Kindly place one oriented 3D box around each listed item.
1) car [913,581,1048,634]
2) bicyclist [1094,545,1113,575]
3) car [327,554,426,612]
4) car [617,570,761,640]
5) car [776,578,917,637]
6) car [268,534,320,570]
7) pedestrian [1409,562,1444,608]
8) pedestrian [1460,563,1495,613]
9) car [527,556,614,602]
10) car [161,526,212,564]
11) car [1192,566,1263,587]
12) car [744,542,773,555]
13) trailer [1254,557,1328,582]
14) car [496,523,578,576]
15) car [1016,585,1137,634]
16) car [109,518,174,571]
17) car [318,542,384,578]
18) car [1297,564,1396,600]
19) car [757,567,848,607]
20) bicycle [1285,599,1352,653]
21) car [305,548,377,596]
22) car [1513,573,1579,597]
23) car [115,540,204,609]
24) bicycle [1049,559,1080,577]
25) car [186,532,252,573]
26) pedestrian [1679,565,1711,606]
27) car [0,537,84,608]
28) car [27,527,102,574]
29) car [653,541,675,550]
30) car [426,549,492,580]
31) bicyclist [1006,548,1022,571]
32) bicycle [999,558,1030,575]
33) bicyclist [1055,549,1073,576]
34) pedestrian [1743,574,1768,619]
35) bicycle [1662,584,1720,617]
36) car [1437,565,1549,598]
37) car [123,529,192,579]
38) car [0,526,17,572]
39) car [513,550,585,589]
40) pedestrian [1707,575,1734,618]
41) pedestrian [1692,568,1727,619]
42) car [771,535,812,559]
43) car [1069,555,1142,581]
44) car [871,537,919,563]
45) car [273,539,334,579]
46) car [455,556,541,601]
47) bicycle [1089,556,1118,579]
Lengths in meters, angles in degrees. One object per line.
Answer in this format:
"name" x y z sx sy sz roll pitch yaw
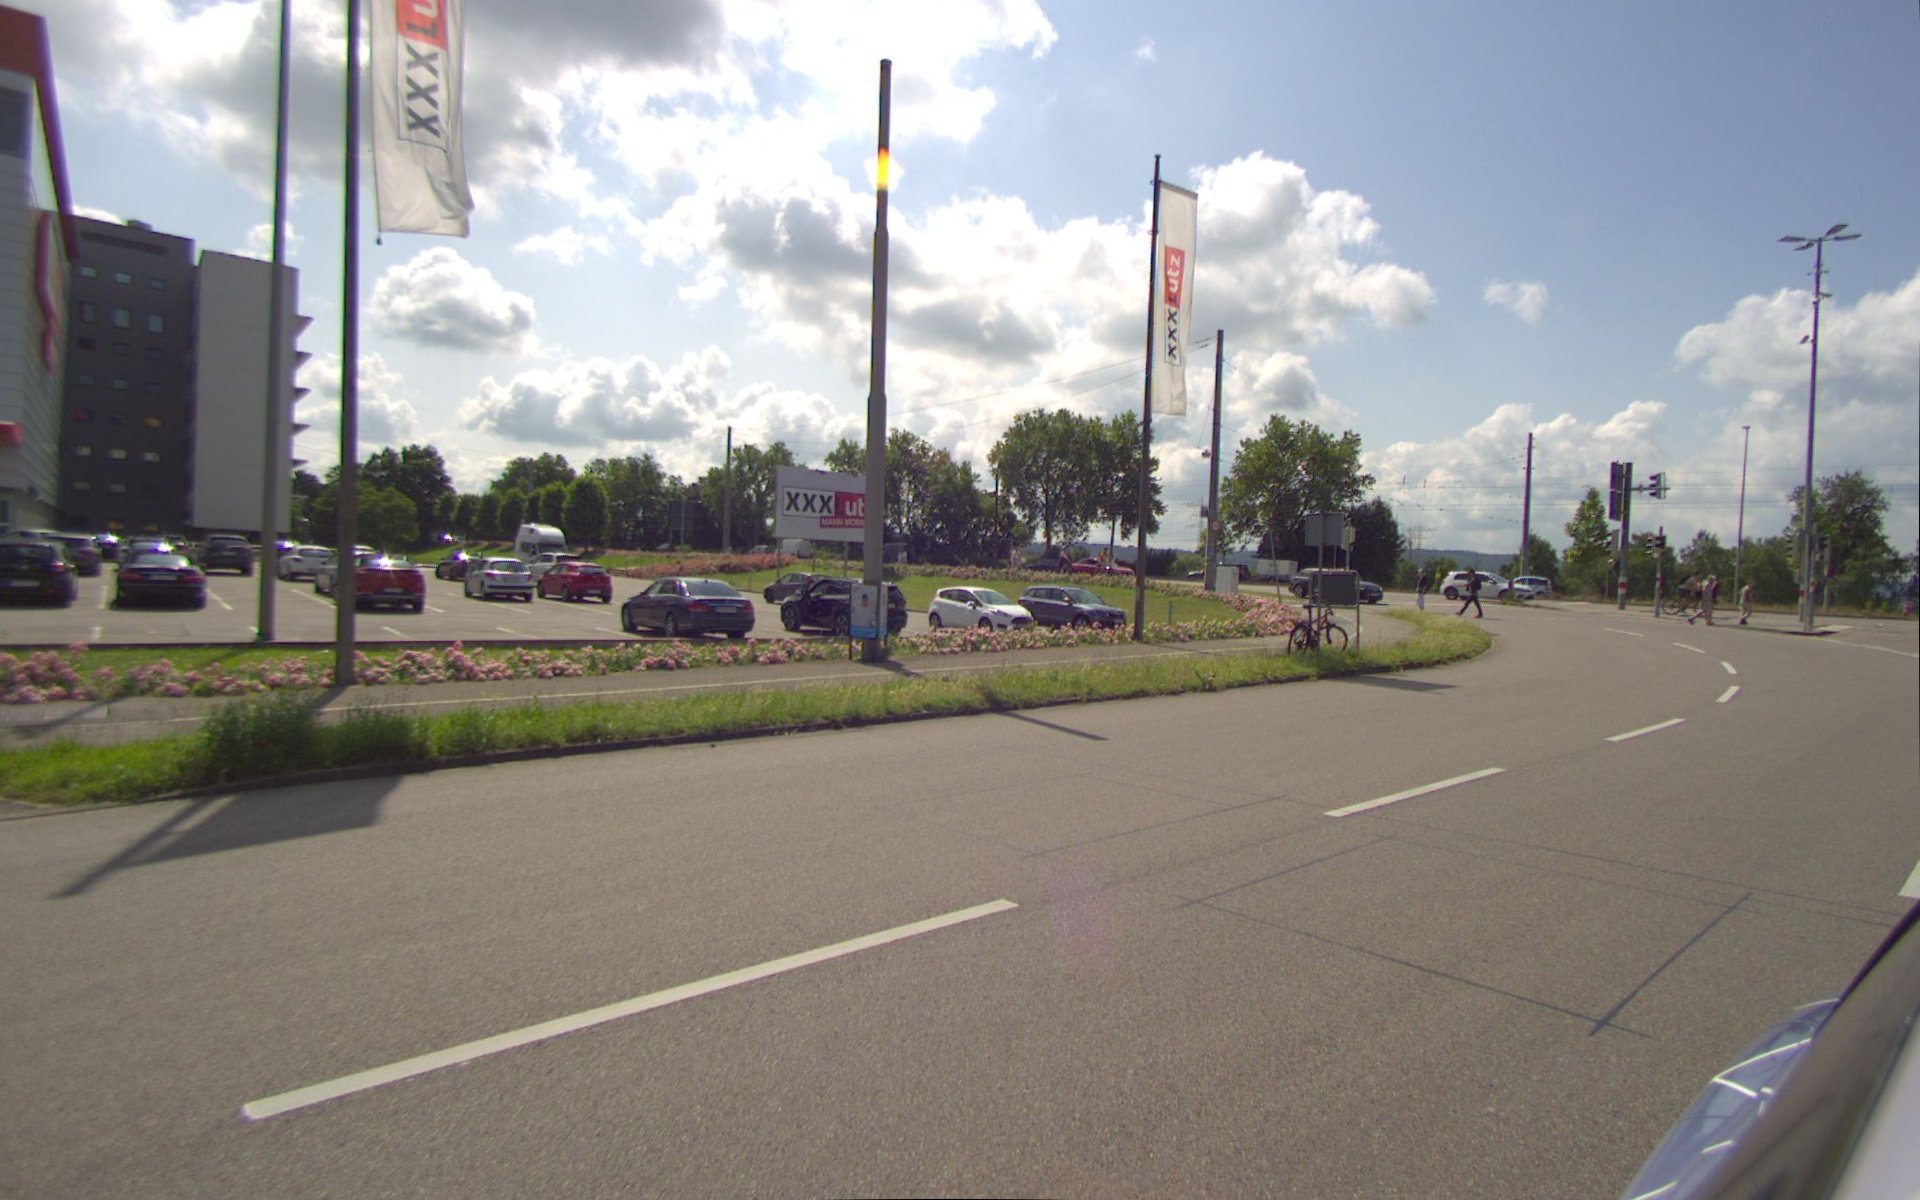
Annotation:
"car" 0.567 0.184 31.504 1.764 1.457 4.369 0 2 -39
"bicyclist" 7.639 -2.117 53.850 0.609 1.555 0.697 2 0 -36
"car" -16.730 -0.513 28.908 1.813 1.379 4.372 2 2 -38
"car" -6.708 0.055 24.777 1.823 1.495 4.370 0 2 -38
"car" -3.238 0.153 28.197 1.823 1.434 4.369 0 2 -39
"car" -35.774 -2.546 54.323 1.963 1.760 3.998 1 1 -38
"pedestrian" 18.335 -0.608 39.795 0.848 1.787 0.865 1 1 -13
"pedestrian" 19.105 -0.459 37.392 0.744 1.824 0.824 1 1 -13
"car" -14.837 -0.827 38.426 1.813 1.445 4.372 2 2 -38
"car" -39.524 -2.770 51.735 1.963 1.760 3.998 1 1 -38
"car" 21.391 -1.907 81.089 5.232 1.593 1.970 3 2 42
"car" -27.457 -6.970 138.010 3.988 1.638 1.968 2 1 44
"trailer" 25.331 -2.354 77.612 5.162 1.854 1.798 2 2 42
"car" -27.494 -3.265 65.590 3.064 3.193 7.904 0 3 -37
"car" 3.937 0.281 34.557 1.686 1.435 3.994 0 2 -42
"car" -33.871 -2.254 41.876 1.964 2.039 3.996 1 1 -39
"car" -28.523 -1.854 47.364 1.887 1.549 3.993 1 1 -42
"car" 17.627 -0.855 46.390 1.876 1.501 4.213 0 3 -21
"car" -6.919 -0.575 44.236 2.011 1.426 4.372 2 3 -38
"bicycle" 6.808 0.467 19.193 1.517 0.964 0.518 0 1 -41
"car" -20.979 -0.973 34.253 1.573 1.379 4.036 2 2 -38
"car" 37.991 -0.958 65.653 3.477 1.474 1.676 -1 1 42
"car" -20.438 -0.694 25.901 1.651 1.526 4.372 1 3 -38
"bicycle" 5.802 -1.801 56.279 0.654 0.973 1.694 2 1 -39
"car" -31.486 -1.980 42.958 1.964 1.607 4.234 1 1 -40
"pedestrian" 29.424 -0.596 40.538 0.676 1.554 0.505 9 3 14
"car" -22.449 -0.708 24.519 1.597 1.460 4.372 2 2 -38
"car" -32.223 -1.756 36.507 1.817 1.571 4.059 0 2 -38
"car" -46.632 -8.568 159.348 1.902 1.382 3.736 1 1 -42
"car" -24.894 -1.750 50.244 1.887 1.459 3.992 1 1 -42
"bicyclist" 3.198 -2.391 59.623 0.582 1.342 0.687 2 0 -39
"bicycle" 3.213 -1.963 59.590 0.586 0.973 1.986 2 1 -39
"bicyclist" 5.803 -2.081 56.311 0.639 1.494 0.742 2 0 -39
"pedestrian" 28.146 -0.123 35.807 0.460 1.543 0.557 2 0 -32
"bicycle" 29.302 0.005 40.579 1.671 1.059 0.505 9 3 13
"car" 26.284 -0.938 49.991 1.980 1.430 4.489 0 3 -43
"car" -30.343 -1.740 38.328 1.964 1.760 3.998 0 2 -38
"car" -34.216 -1.849 35.066 1.964 1.526 3.997 1 2 -39
"car" -19.425 -1.460 47.754 1.821 1.607 4.233 1 3 -42
"pedestrian" 27.144 -0.130 36.124 0.460 1.543 0.586 0 1 -31
"pedestrian" 26.170 -0.228 35.349 0.686 1.749 0.690 0 3 -29
"car" -21.051 -6.629 126.371 5.576 2.522 1.928 6 2 44
"car" 8.612 -1.914 60.270 1.717 1.377 4.248 0 4 -38
"car" -7.487 -5.731 115.928 5.657 2.637 1.962 4 0 42
"car" -26.814 -1.654 41.294 1.638 1.470 3.996 1 1 -39
"car" -16.732 -0.814 36.547 1.813 1.379 4.372 1 3 -38
"bicycle" 7.628 -1.739 53.860 0.609 1.180 1.505 2 0 -35
